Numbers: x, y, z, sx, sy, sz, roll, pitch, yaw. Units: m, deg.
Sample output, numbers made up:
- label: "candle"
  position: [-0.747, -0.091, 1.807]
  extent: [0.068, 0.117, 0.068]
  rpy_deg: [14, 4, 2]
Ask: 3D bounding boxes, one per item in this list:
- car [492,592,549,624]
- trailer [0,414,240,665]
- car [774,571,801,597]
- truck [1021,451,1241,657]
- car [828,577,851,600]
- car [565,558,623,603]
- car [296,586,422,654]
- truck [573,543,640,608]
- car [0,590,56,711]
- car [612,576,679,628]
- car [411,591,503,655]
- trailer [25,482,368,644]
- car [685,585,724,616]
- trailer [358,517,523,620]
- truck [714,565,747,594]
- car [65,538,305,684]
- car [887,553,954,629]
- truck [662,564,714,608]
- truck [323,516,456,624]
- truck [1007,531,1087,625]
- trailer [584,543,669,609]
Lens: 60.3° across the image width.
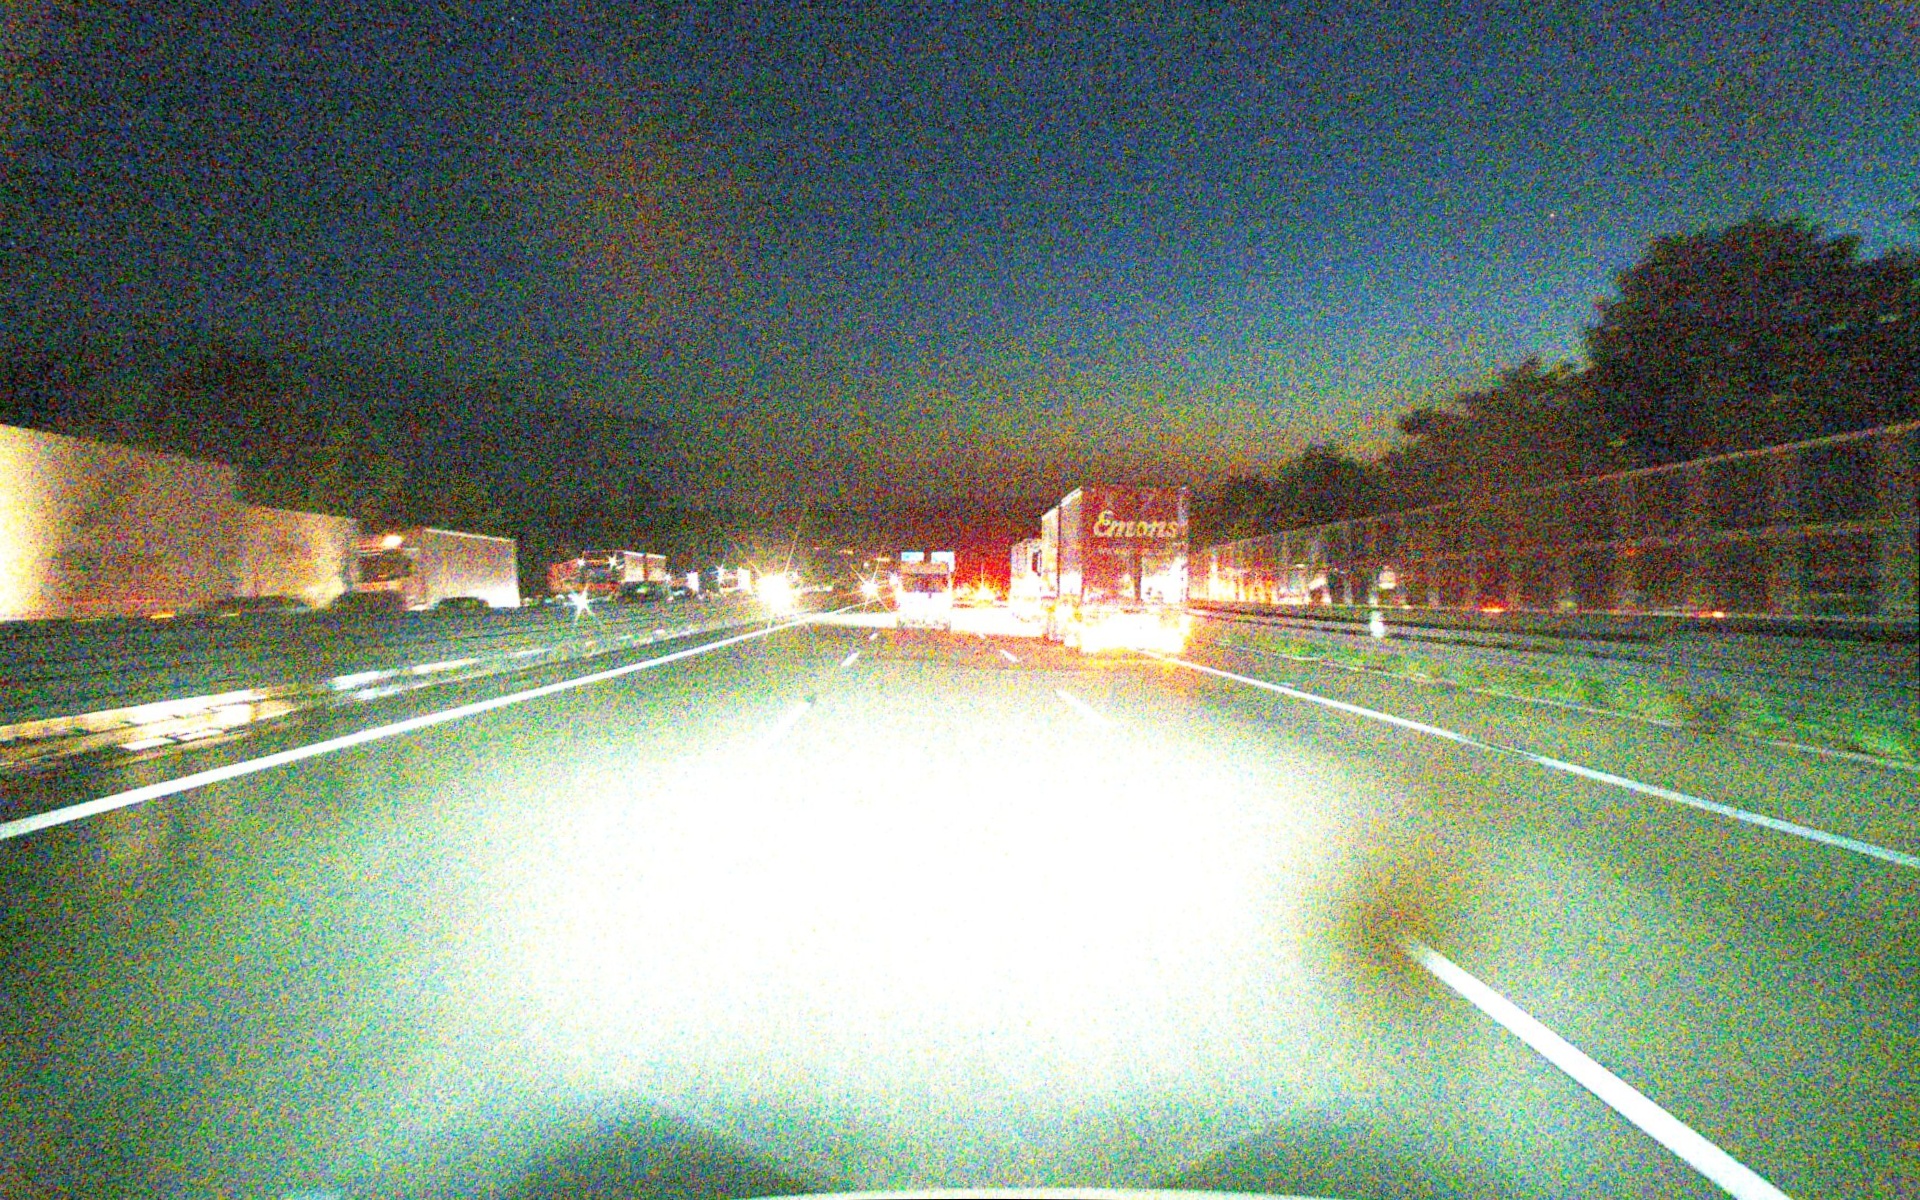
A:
- label: "car"
  position: [-24.903, 0.472, 93.885]
  extent: [1.953, 1.714, 5.322]
  rpy_deg: [1, -1, -2]
- label: "trailer"
  position: [-15.850, -0.900, 27.471]
  extent: [2.827, 3.736, 12.210]
  rpy_deg: [1, -1, -2]
- label: "car"
  position: [-14.650, -1.329, 140.351]
  extent: [1.953, 2.049, 3.998]
  rpy_deg: [1, -1, -2]
- label: "truck"
  position: [4.359, -1.147, 48.791]
  extent: [3.836, 4.708, 21.013]
  rpy_deg: [1, 0, -1]
- label: "car"
  position: [-11.075, -1.062, 152.725]
  extent: [1.953, 2.049, 3.998]
  rpy_deg: [1, -1, -2]
- label: "car"
  position: [-17.788, -0.929, 80.502]
  extent: [1.953, 2.049, 3.999]
  rpy_deg: [1, -1, -1]
- label: "car"
  position: [-16.343, 0.541, 45.217]
  extent: [1.954, 1.715, 4.504]
  rpy_deg: [1, -1, -3]
- label: "truck"
  position: [-21.731, -1.452, 101.911]
  extent: [2.802, 3.752, 6.600]
  rpy_deg: [1, -1, -1]
- label: "car"
  position: [-11.902, 0.548, 18.053]
  extent: [1.953, 1.383, 3.998]
  rpy_deg: [1, -1, -2]
- label: "car"
  position: [-12.916, 0.104, 68.222]
  extent: [1.954, 2.049, 5.321]
  rpy_deg: [1, -1, -3]
- label: "car"
  position: [-16.831, 0.760, 55.487]
  extent: [1.953, 2.049, 3.998]
  rpy_deg: [1, -1, -2]
- label: "trailer"
  position: [-20.406, -0.943, 45.928]
  extent: [2.827, 3.735, 15.235]
  rpy_deg: [0, 1, -1]
- label: "car"
  position: [-17.963, 0.059, 116.466]
  extent: [1.953, 2.049, 5.323]
  rpy_deg: [1, -1, -1]
- label: "trailer"
  position: [-20.866, -1.102, 67.525]
  extent: [2.827, 3.736, 13.044]
  rpy_deg: [1, -1, -1]
- label: "truck"
  position: [-28.039, -2.479, 202.181]
  extent: [3.104, 3.278, 7.446]
  rpy_deg: [1, -1, -1]
- label: "car"
  position: [-11.805, 0.181, 25.527]
  extent: [1.954, 2.049, 3.997]
  rpy_deg: [1, -1, -3]
- label: "car"
  position: [-1.528, -0.291, 61.516]
  extent: [2.291, 2.686, 5.243]
  rpy_deg: [-1, -1, -4]
- label: "truck"
  position: [-26.274, -1.226, 160.407]
  extent: [2.827, 3.916, 15.063]
  rpy_deg: [1, -1, -1]
- label: "truck"
  position: [-20.654, -1.076, 60.221]
  extent: [2.816, 3.737, 6.050]
  rpy_deg: [0, 1, -1]
- label: "truck"
  position: [4.397, -1.153, 86.949]
  extent: [3.276, 4.554, 13.908]
  rpy_deg: [0, 1, -1]
- label: "trailer"
  position: [-21.830, -1.439, 109.237]
  extent: [2.827, 3.916, 15.063]
  rpy_deg: [1, -1, -1]
